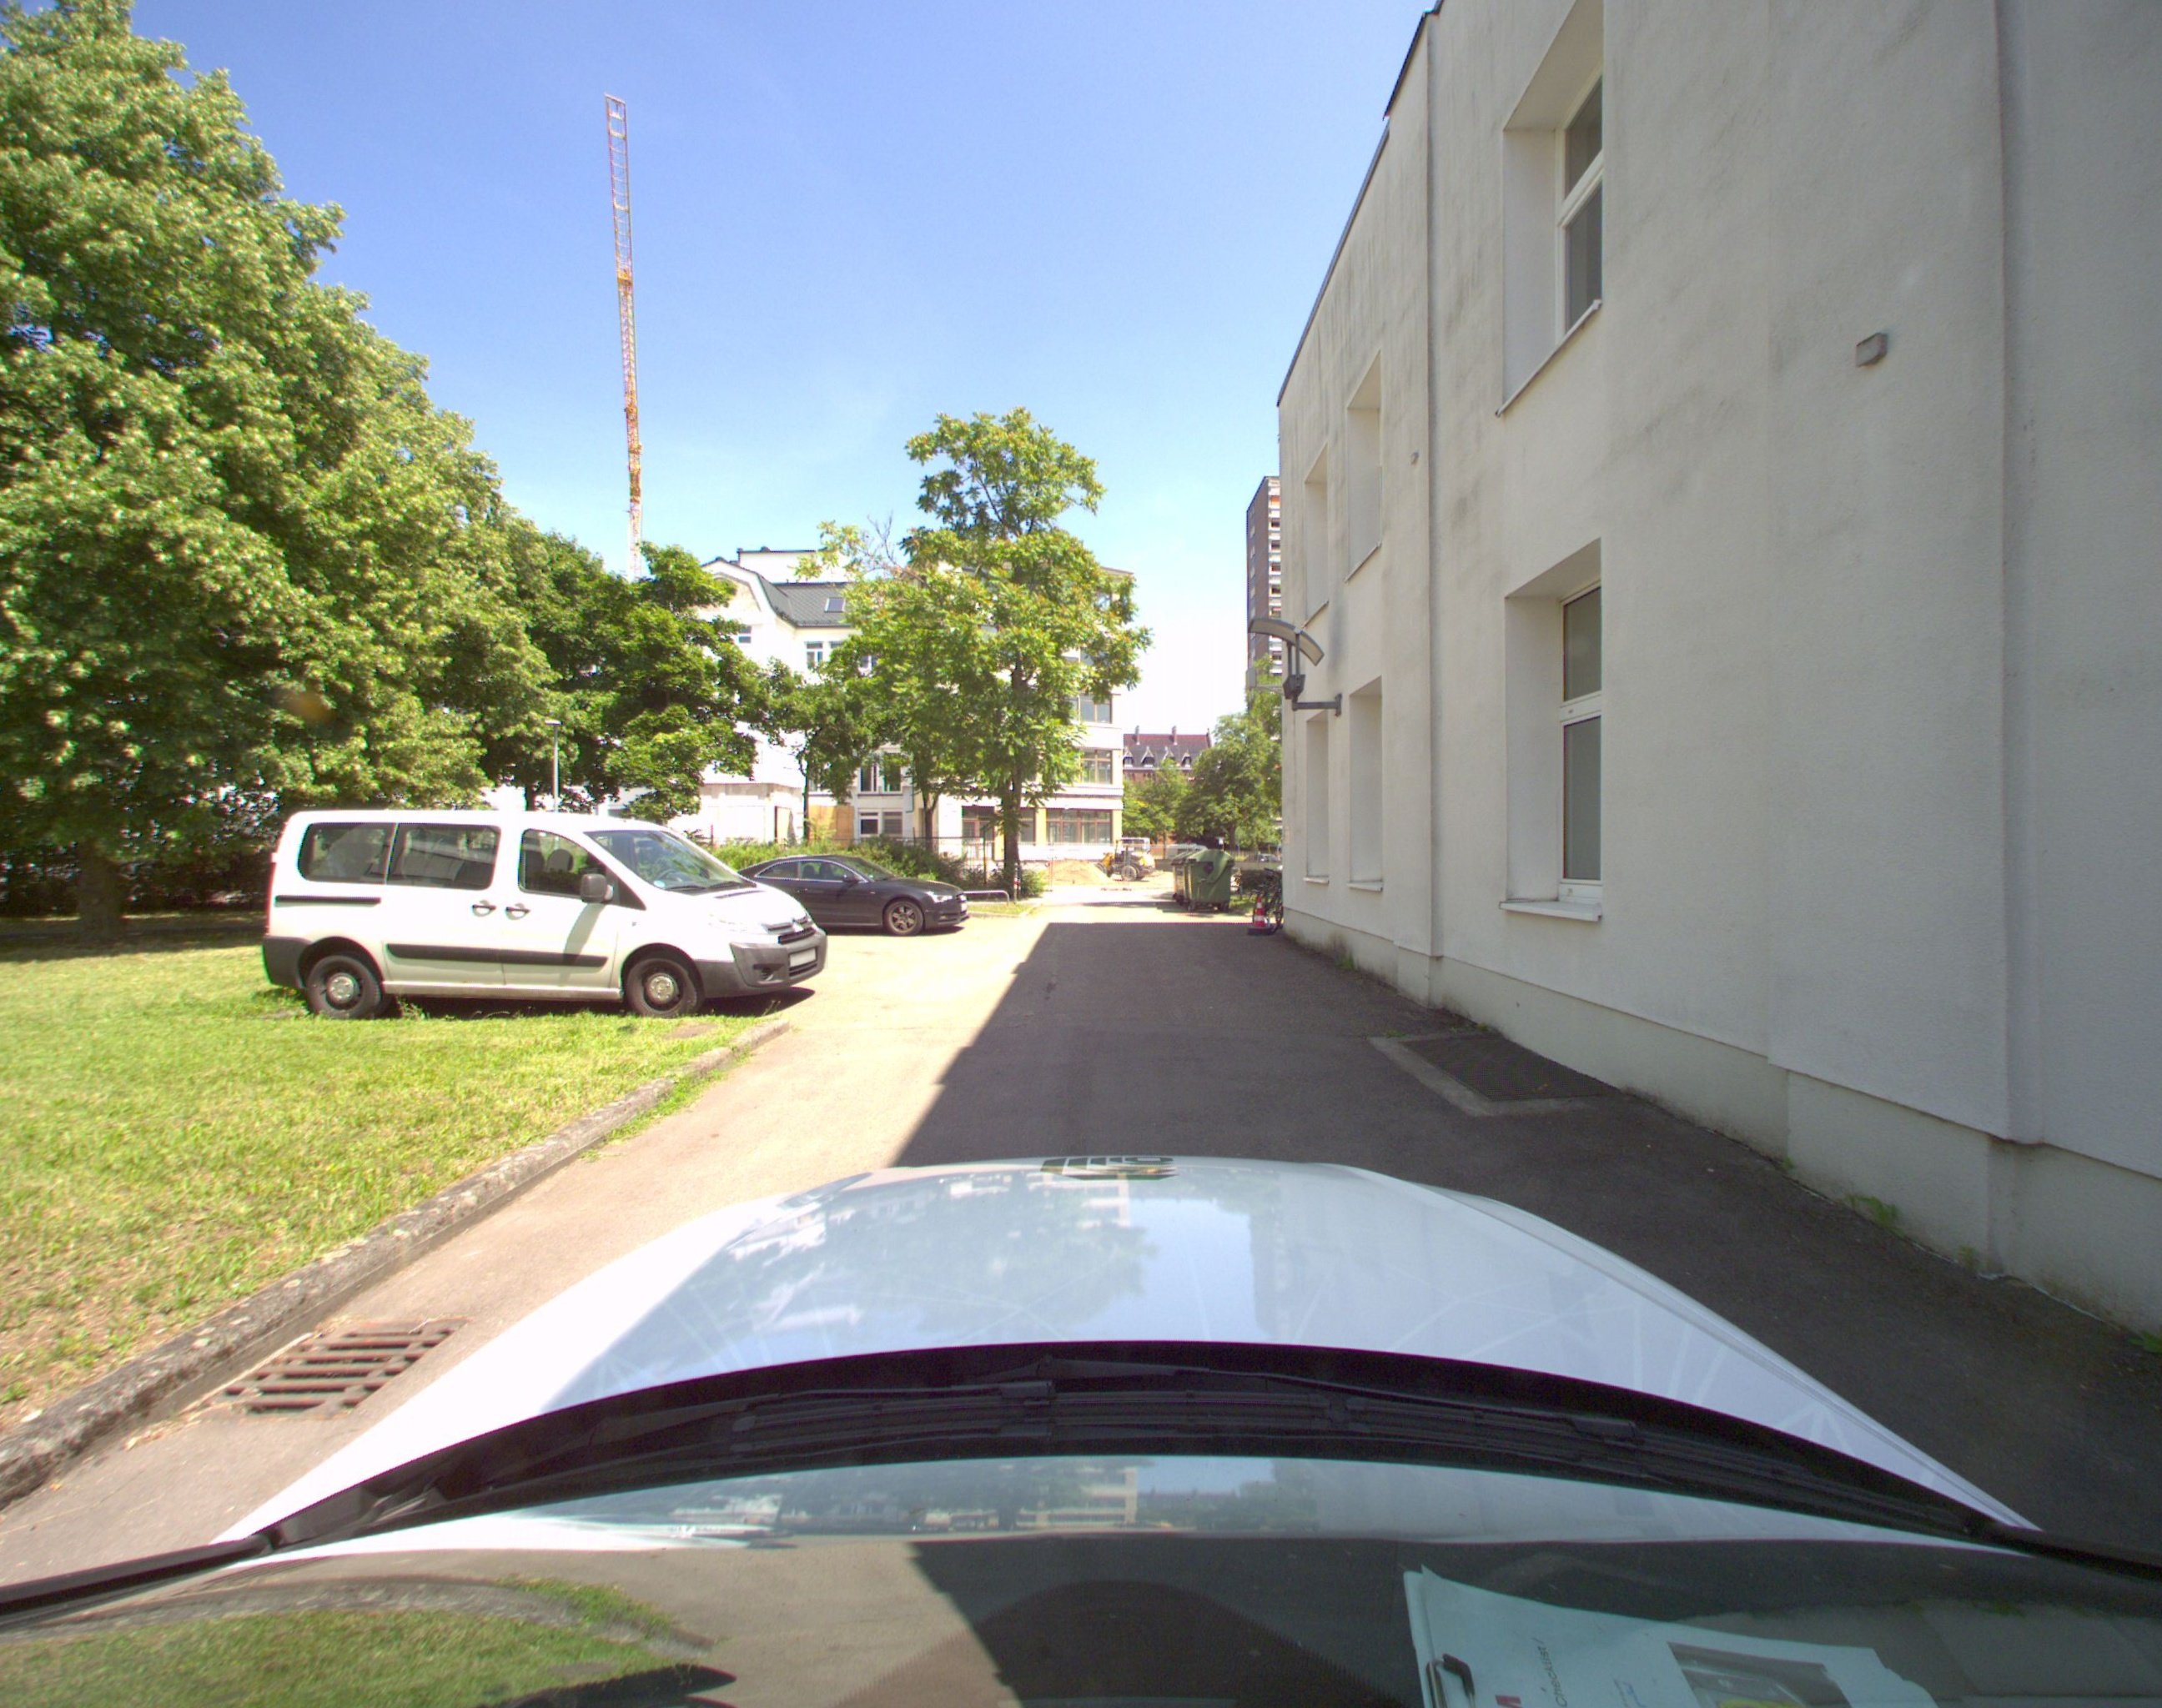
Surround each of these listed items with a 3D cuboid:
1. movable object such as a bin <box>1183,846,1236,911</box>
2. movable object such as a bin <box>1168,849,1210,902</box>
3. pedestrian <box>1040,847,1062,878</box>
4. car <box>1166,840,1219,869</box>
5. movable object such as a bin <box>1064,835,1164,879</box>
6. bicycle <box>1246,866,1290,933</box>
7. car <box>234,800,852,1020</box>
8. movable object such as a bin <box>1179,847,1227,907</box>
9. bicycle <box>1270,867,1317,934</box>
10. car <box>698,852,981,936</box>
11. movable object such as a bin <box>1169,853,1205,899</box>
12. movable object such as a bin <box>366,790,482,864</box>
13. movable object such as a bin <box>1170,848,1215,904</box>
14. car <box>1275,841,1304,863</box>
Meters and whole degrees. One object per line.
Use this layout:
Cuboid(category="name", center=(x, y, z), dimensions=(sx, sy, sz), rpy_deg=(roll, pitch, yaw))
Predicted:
Cuboid(category="movable object such as a bin", center=(2.986, 0.562, 19.068), dimensions=(1.071, 1.458, 1.378), rpy_deg=(0, -1, 2))
Cuboid(category="movable object such as a bin", center=(3.092, 0.610, 23.406), dimensions=(1.071, 1.458, 1.378), rpy_deg=(0, -1, 2))
Cuboid(category="pedestrian", center=(-1.785, 0.494, 48.697), dimensions=(0.974, 1.847, 0.922), rpy_deg=(-1, -1, 23))
Cuboid(category="car", center=(9.796, 0.067, 72.075), dimensions=(2.005, 2.416, 5.196), rpy_deg=(0, -1, -27))
Cuboid(category="movable object such as a bin", center=(1.920, 0.146, 47.932), dimensions=(5.352, 2.464, 2.382), rpy_deg=(1, 0, 30))
Cuboid(category="bicycle", center=(3.287, 0.763, 14.433), dimensions=(0.403, 1.102, 1.827), rpy_deg=(0, -1, 2))
Cuboid(category="car", center=(-5.026, 0.504, 8.132), dimensions=(4.827, 1.883, 2.069), rpy_deg=(0, -1, 3))
Cuboid(category="movable object such as a bin", center=(3.052, 0.573, 20.511), dimensions=(1.071, 1.458, 1.378), rpy_deg=(0, -1, 2))
Cuboid(category="bicycle", center=(3.756, 0.782, 14.477), dimensions=(0.403, 1.102, 1.827), rpy_deg=(0, -1, 2))
Cuboid(category="car", center=(-4.179, 0.681, 14.623), dimensions=(4.410, 1.380, 2.025), rpy_deg=(0, -1, 3))
Cuboid(category="movable object such as a bin", center=(3.490, 0.709, 26.906), dimensions=(1.071, 1.458, 1.378), rpy_deg=(0, -1, 2))
Cuboid(category="movable object such as a bin", center=(-40.236, -1.616, 49.967), dimensions=(5.678, 4.372, 2.003), rpy_deg=(0, -1, 5))
Cuboid(category="movable object such as a bin", center=(2.990, 0.585, 21.985), dimensions=(1.071, 1.458, 1.378), rpy_deg=(0, -1, 2))
Cuboid(category="car", center=(21.486, -0.192, 83.841), dimensions=(2.165, 2.258, 4.895), rpy_deg=(-1, -1, 23))
